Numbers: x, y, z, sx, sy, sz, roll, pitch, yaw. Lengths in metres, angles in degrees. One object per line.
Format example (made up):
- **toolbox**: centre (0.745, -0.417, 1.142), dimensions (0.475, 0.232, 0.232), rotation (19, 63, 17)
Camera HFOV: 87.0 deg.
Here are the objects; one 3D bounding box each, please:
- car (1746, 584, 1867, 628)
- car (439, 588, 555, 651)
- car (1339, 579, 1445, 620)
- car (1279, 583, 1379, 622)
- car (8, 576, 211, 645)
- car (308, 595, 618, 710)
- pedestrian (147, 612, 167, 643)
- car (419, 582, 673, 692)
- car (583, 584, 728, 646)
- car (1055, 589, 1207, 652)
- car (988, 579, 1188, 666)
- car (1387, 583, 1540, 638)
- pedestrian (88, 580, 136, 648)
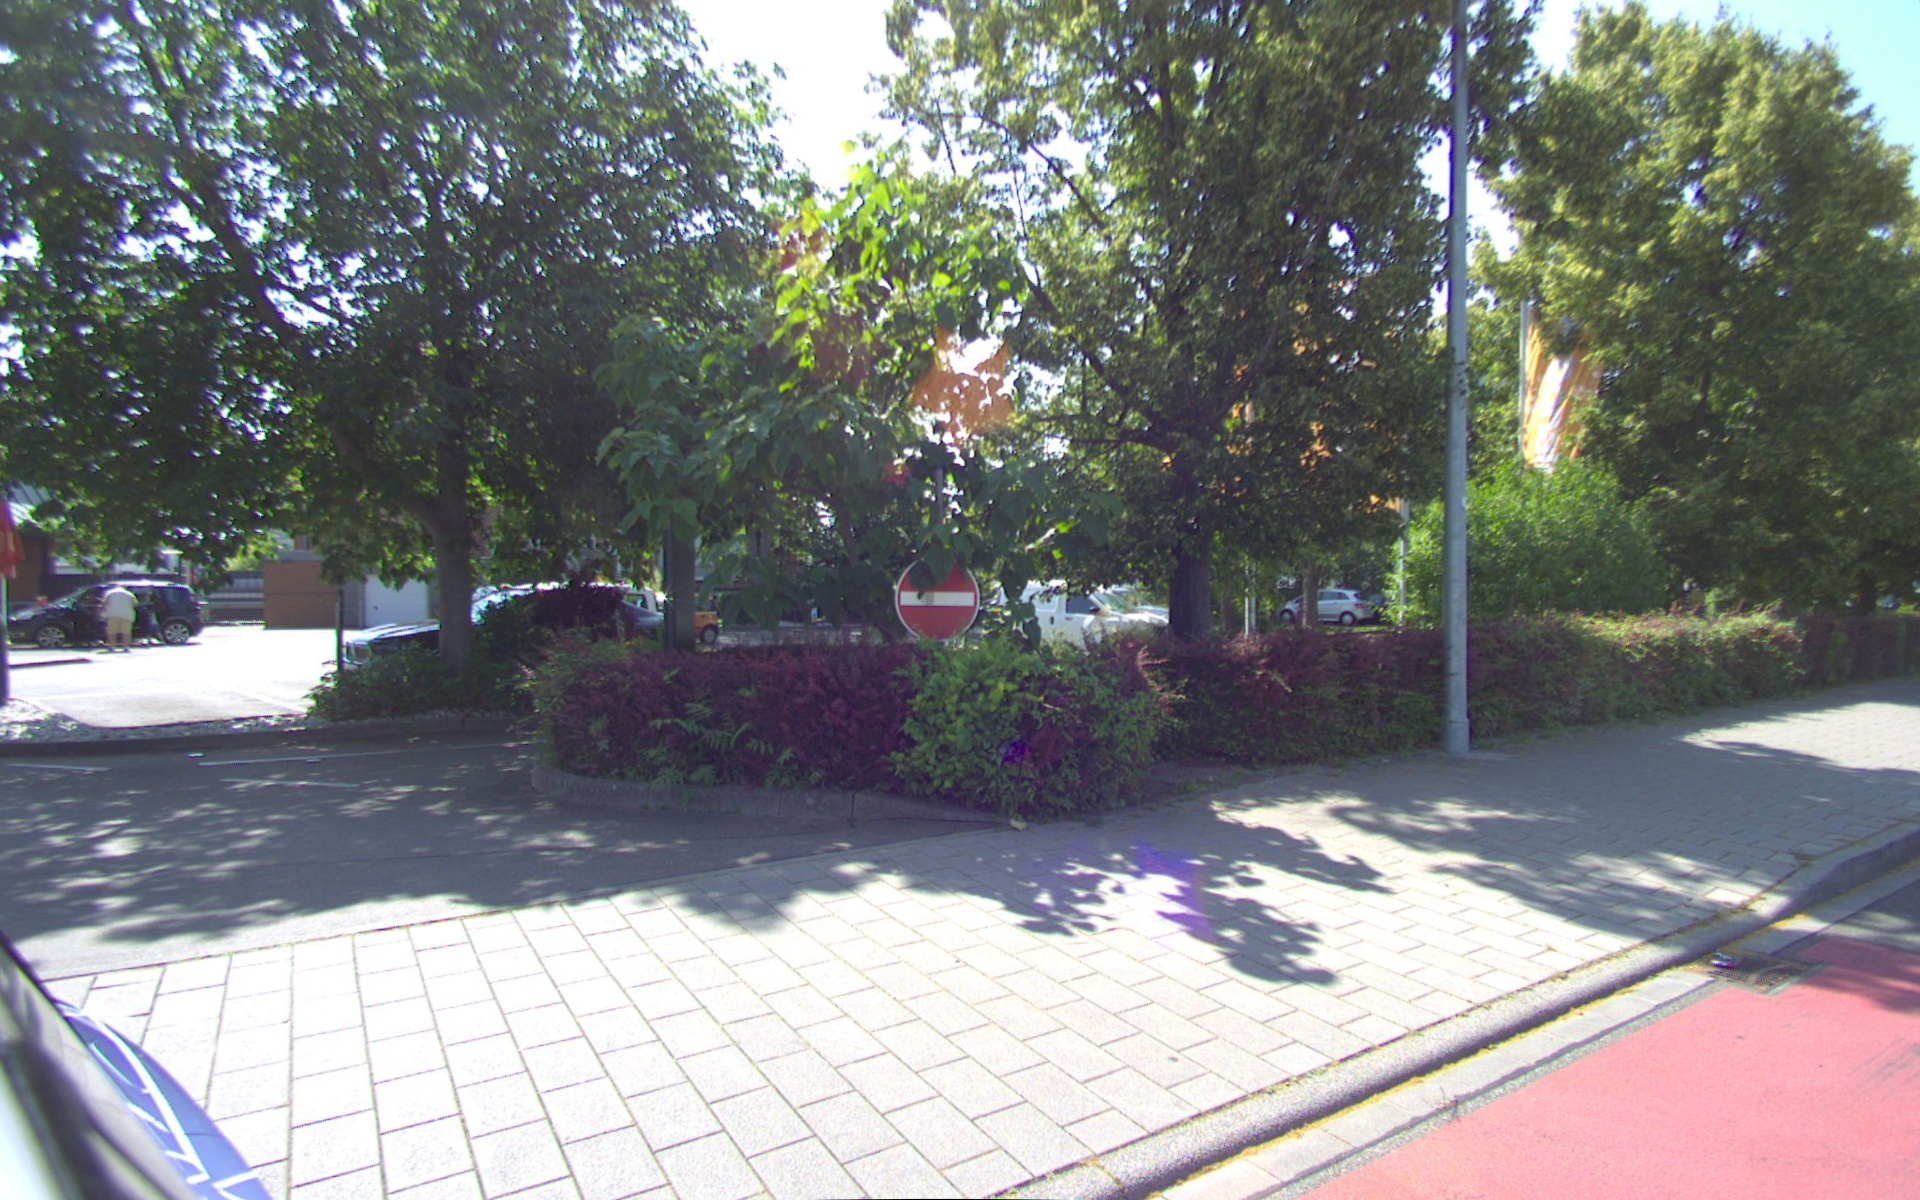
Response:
- **car**: centre (42.304, 0.324, 50.752), dimensions (1.864, 1.935, 4.529), rotation (-3, -2, -5)
- **car**: centre (-12.589, 0.471, 27.428), dimensions (3.613, 1.543, 1.598), rotation (2, 1, 43)
- **car**: centre (19.408, -0.042, 45.560), dimensions (4.023, 1.745, 1.777), rotation (1, 1, 42)
- **car**: centre (16.386, 0.080, 44.974), dimensions (3.848, 1.599, 1.621), rotation (1, 1, 41)
- **car**: centre (-22.186, 0.240, 26.485), dimensions (3.941, 1.670, 1.957), rotation (0, 0, -45)
- **car**: centre (-7.369, 0.680, 15.381), dimensions (1.651, 1.505, 3.955), rotation (0, 0, 33)
- **pedestrian**: centre (-20.924, 0.719, 26.367), dimensions (0.336, 0.785, 0.359), rotation (0, 0, 45)
- **car**: centre (-7.632, 0.583, 19.037), dimensions (1.755, 1.812, 4.181), rotation (1, 1, 33)
- **car**: centre (-8.707, 0.385, 29.116), dimensions (1.669, 1.644, 3.672), rotation (1, 1, 42)
- **car**: centre (4.794, 0.520, 28.547), dimensions (3.807, 1.595, 1.881), rotation (1, 1, 39)
- **car**: centre (2.918, 0.459, 23.557), dimensions (4.346, 1.841, 1.727), rotation (0, 1, 37)
- **car**: centre (15.475, 0.307, 31.008), dimensions (4.946, 1.572, 2.080), rotation (0, 0, -35)
- **pedestrian**: centre (-20.786, 0.333, 24.807), dimensions (0.789, 1.650, 0.821), rotation (0, 0, 45)
